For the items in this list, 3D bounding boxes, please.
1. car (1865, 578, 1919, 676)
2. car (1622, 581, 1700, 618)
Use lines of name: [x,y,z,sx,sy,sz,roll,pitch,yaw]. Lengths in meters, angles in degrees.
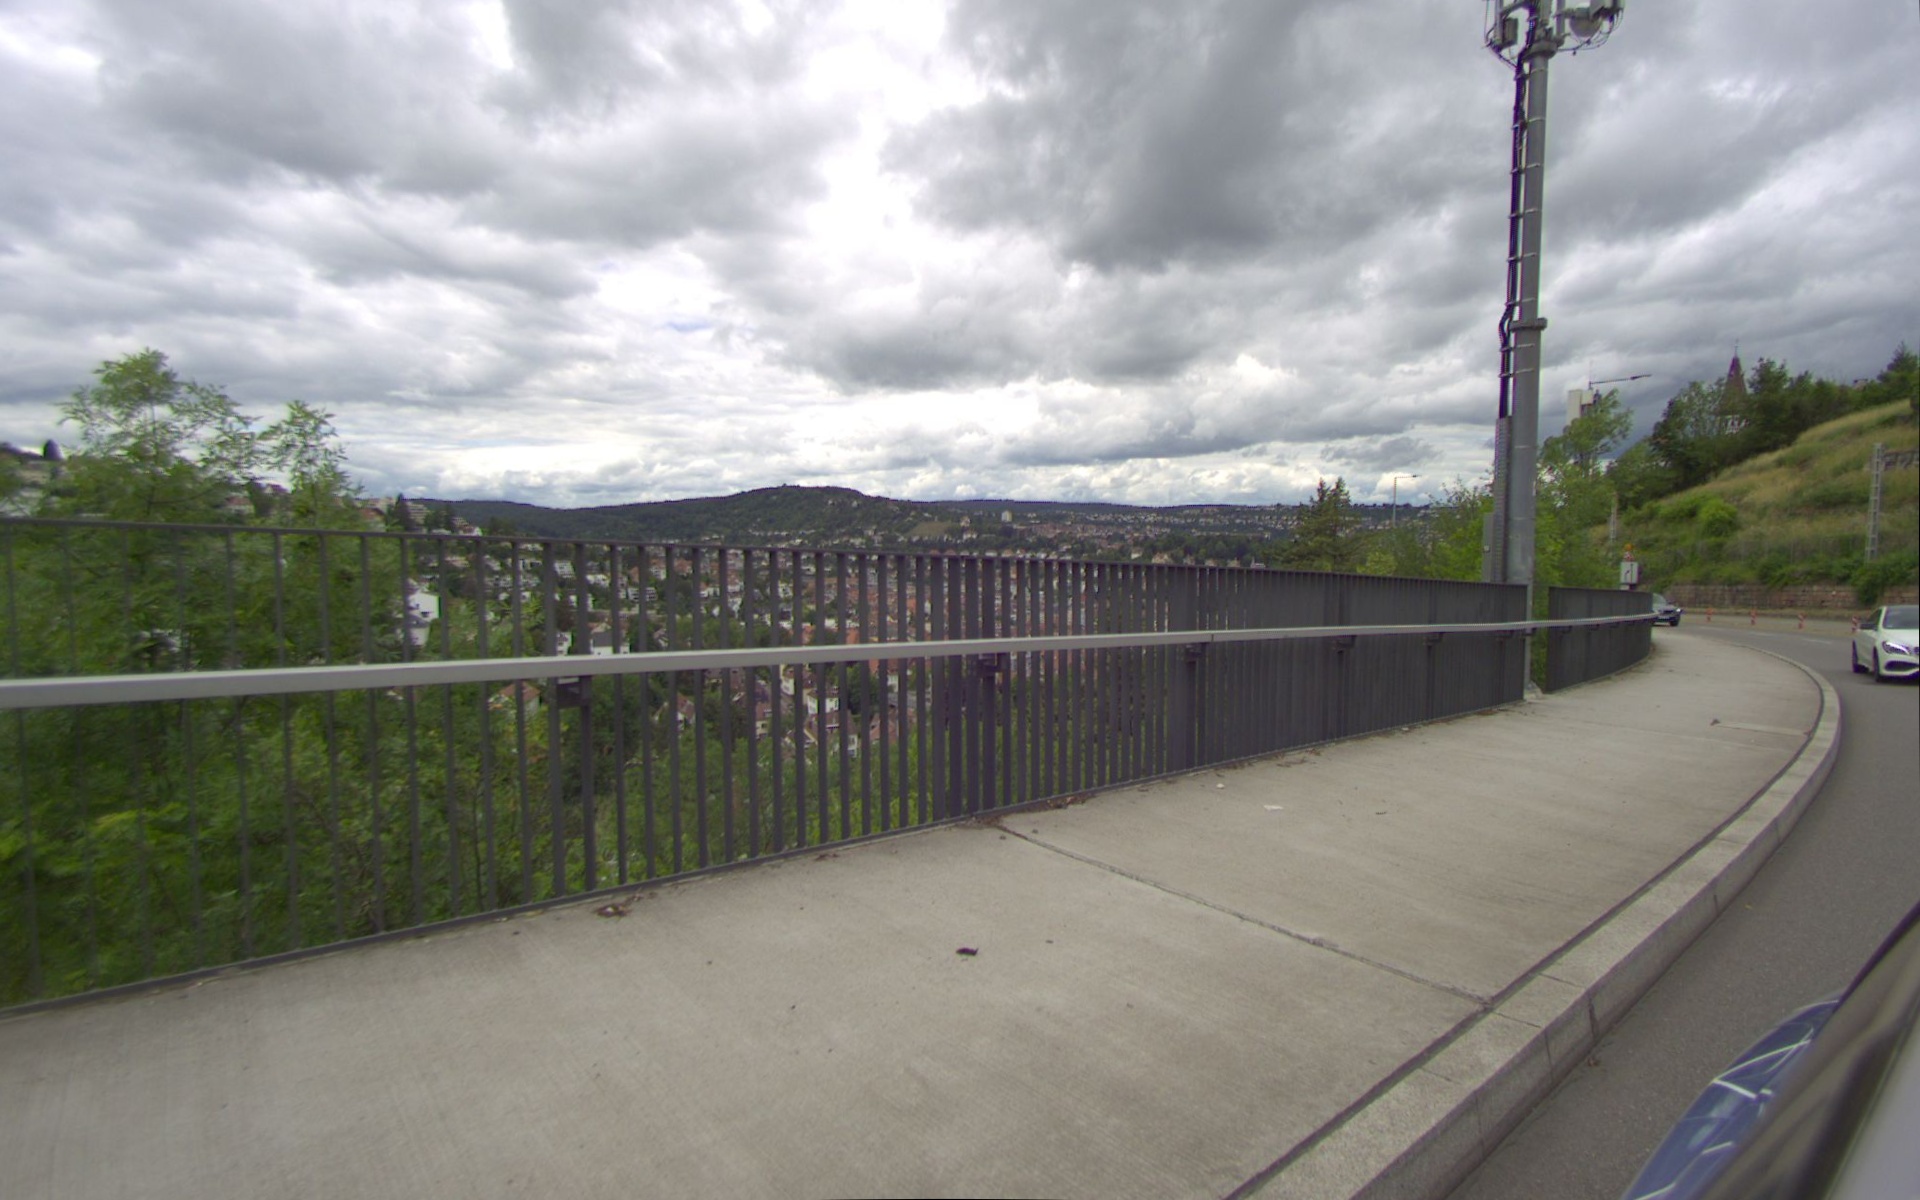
car: [18.604,0.493,19.079,1.989,1.740,3.945,1,0,38]
car: [34.605,-0.066,50.118,1.974,1.692,4.510,1,1,19]
